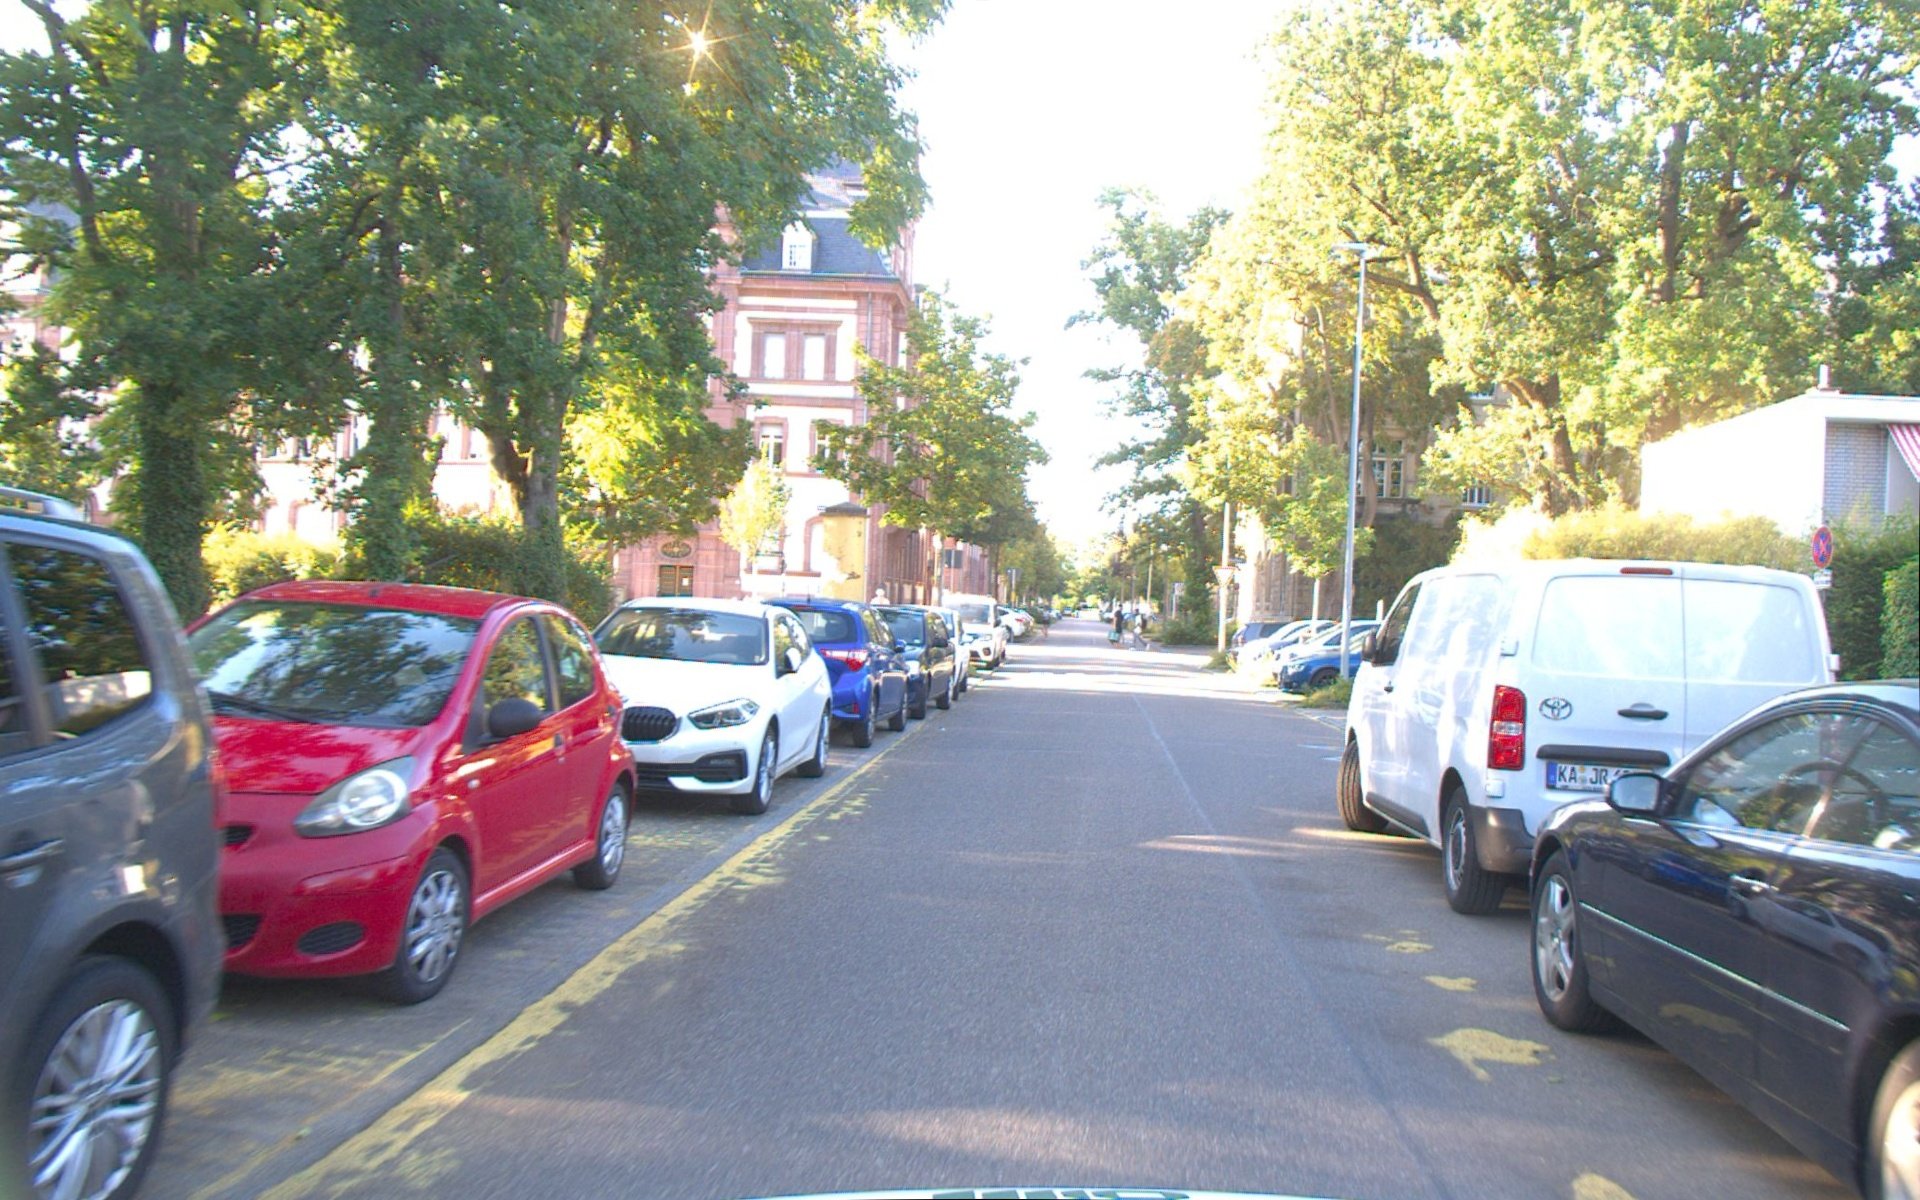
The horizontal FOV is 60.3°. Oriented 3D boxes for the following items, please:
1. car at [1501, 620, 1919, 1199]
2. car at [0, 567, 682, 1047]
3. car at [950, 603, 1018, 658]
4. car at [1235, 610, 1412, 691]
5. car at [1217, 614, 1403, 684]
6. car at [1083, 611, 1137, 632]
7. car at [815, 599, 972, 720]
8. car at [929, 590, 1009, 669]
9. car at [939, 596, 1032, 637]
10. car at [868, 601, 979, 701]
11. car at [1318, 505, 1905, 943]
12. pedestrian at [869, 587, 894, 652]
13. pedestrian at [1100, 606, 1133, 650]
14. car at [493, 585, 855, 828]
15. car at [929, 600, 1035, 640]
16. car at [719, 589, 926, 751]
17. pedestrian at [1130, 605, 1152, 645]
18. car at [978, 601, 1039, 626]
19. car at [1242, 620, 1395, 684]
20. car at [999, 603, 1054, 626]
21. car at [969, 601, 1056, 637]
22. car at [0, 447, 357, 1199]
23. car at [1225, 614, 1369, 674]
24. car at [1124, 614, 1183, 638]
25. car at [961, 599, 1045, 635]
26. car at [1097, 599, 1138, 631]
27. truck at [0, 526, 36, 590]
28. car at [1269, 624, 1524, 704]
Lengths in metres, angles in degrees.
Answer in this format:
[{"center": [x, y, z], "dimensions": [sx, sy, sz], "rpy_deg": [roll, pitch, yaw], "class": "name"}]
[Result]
[{"center": [3.059, 0.863, 4.534], "dimensions": [1.728, 1.493, 4.867], "rpy_deg": [3, 0, 3], "class": "car"}, {"center": [-2.355, 0.674, 7.101], "dimensions": [1.358, 1.448, 3.429], "rpy_deg": [4, 0, 5], "class": "car"}, {"center": [0.785, 0.904, 50.882], "dimensions": [1.743, 1.531, 4.555], "rpy_deg": [3, 0, 5], "class": "car"}, {"center": [8.046, 1.113, 36.799], "dimensions": [3.426, 1.612, 1.760], "rpy_deg": [2, 0, -6], "class": "car"}, {"center": [8.990, 1.252, 42.740], "dimensions": [4.398, 1.576, 1.891], "rpy_deg": [2, 0, 1], "class": "car"}, {"center": [13.040, 1.843, 143.806], "dimensions": [4.488, 1.636, 1.842], "rpy_deg": [3, 0, 2], "class": "car"}, {"center": [-0.862, 0.787, 23.649], "dimensions": [1.518, 1.520, 3.945], "rpy_deg": [2, 0, 8], "class": "car"}, {"center": [0.284, 0.729, 42.713], "dimensions": [1.744, 1.873, 4.555], "rpy_deg": [2, 0, 4], "class": "car"}, {"center": [1.253, 0.797, 80.239], "dimensions": [4.390, 1.746, 1.843], "rpy_deg": [3, 0, 2], "class": "car"}, {"center": [-0.573, 0.834, 28.693], "dimensions": [1.559, 1.553, 3.867], "rpy_deg": [2, 0, 3], "class": "car"}, {"center": [3.741, 0.609, 10.668], "dimensions": [1.912, 2.049, 5.155], "rpy_deg": [2, 0, 3], "class": "car"}, {"center": [-2.230, 0.561, 47.139], "dimensions": [0.587, 1.815, 0.946], "rpy_deg": [2, 0, 1], "class": "pedestrian"}, {"center": [7.051, 1.267, 74.666], "dimensions": [1.048, 1.890, 0.993], "rpy_deg": [3, -1, -27], "class": "pedestrian"}, {"center": [-1.975, 0.690, 12.637], "dimensions": [1.655, 1.430, 3.977], "rpy_deg": [4, 0, 5], "class": "car"}, {"center": [1.021, 0.914, 75.793], "dimensions": [4.742, 1.622, 1.843], "rpy_deg": [3, 0, 2], "class": "car"}, {"center": [-1.446, 0.722, 18.672], "dimensions": [1.604, 1.521, 3.707], "rpy_deg": [4, 0, 5], "class": "car"}, {"center": [7.591, 1.041, 69.543], "dimensions": [0.769, 1.634, 0.720], "rpy_deg": [2, -2, -2], "class": "pedestrian"}, {"center": [3.567, 0.986, 121.986], "dimensions": [4.390, 1.636, 1.842], "rpy_deg": [3, 0, 2], "class": "car"}, {"center": [9.757, 1.401, 45.218], "dimensions": [3.871, 1.543, 1.675], "rpy_deg": [2, 0, 5], "class": "car"}, {"center": [5.487, 1.189, 136.618], "dimensions": [4.390, 1.636, 1.842], "rpy_deg": [3, 0, 2], "class": "car"}, {"center": [2.711, 0.970, 85.451], "dimensions": [4.390, 1.636, 1.843], "rpy_deg": [3, 0, 2], "class": "car"}, {"center": [-2.754, 0.498, 2.369], "dimensions": [1.764, 1.704, 4.323], "rpy_deg": [4, 0, 5], "class": "car"}, {"center": [9.698, 1.283, 47.841], "dimensions": [3.870, 1.543, 1.875], "rpy_deg": [2, -3, 5], "class": "car"}, {"center": [14.919, 1.977, 127.646], "dimensions": [4.390, 1.636, 1.842], "rpy_deg": [3, 0, 2], "class": "car"}, {"center": [2.320, 0.900, 88.259], "dimensions": [4.390, 1.636, 1.843], "rpy_deg": [3, 0, 2], "class": "car"}, {"center": [19.078, 1.848, 200.572], "dimensions": [4.784, 3.681, 1.843], "rpy_deg": [3, 0, 3], "class": "car"}, {"center": [-50.434, -2.219, 82.887], "dimensions": [7.818, 3.082, 2.613], "rpy_deg": [3, 0, 20], "class": "truck"}, {"center": [8.308, 1.217, 31.788], "dimensions": [4.492, 1.439, 1.924], "rpy_deg": [0, -2, 5], "class": "car"}]
